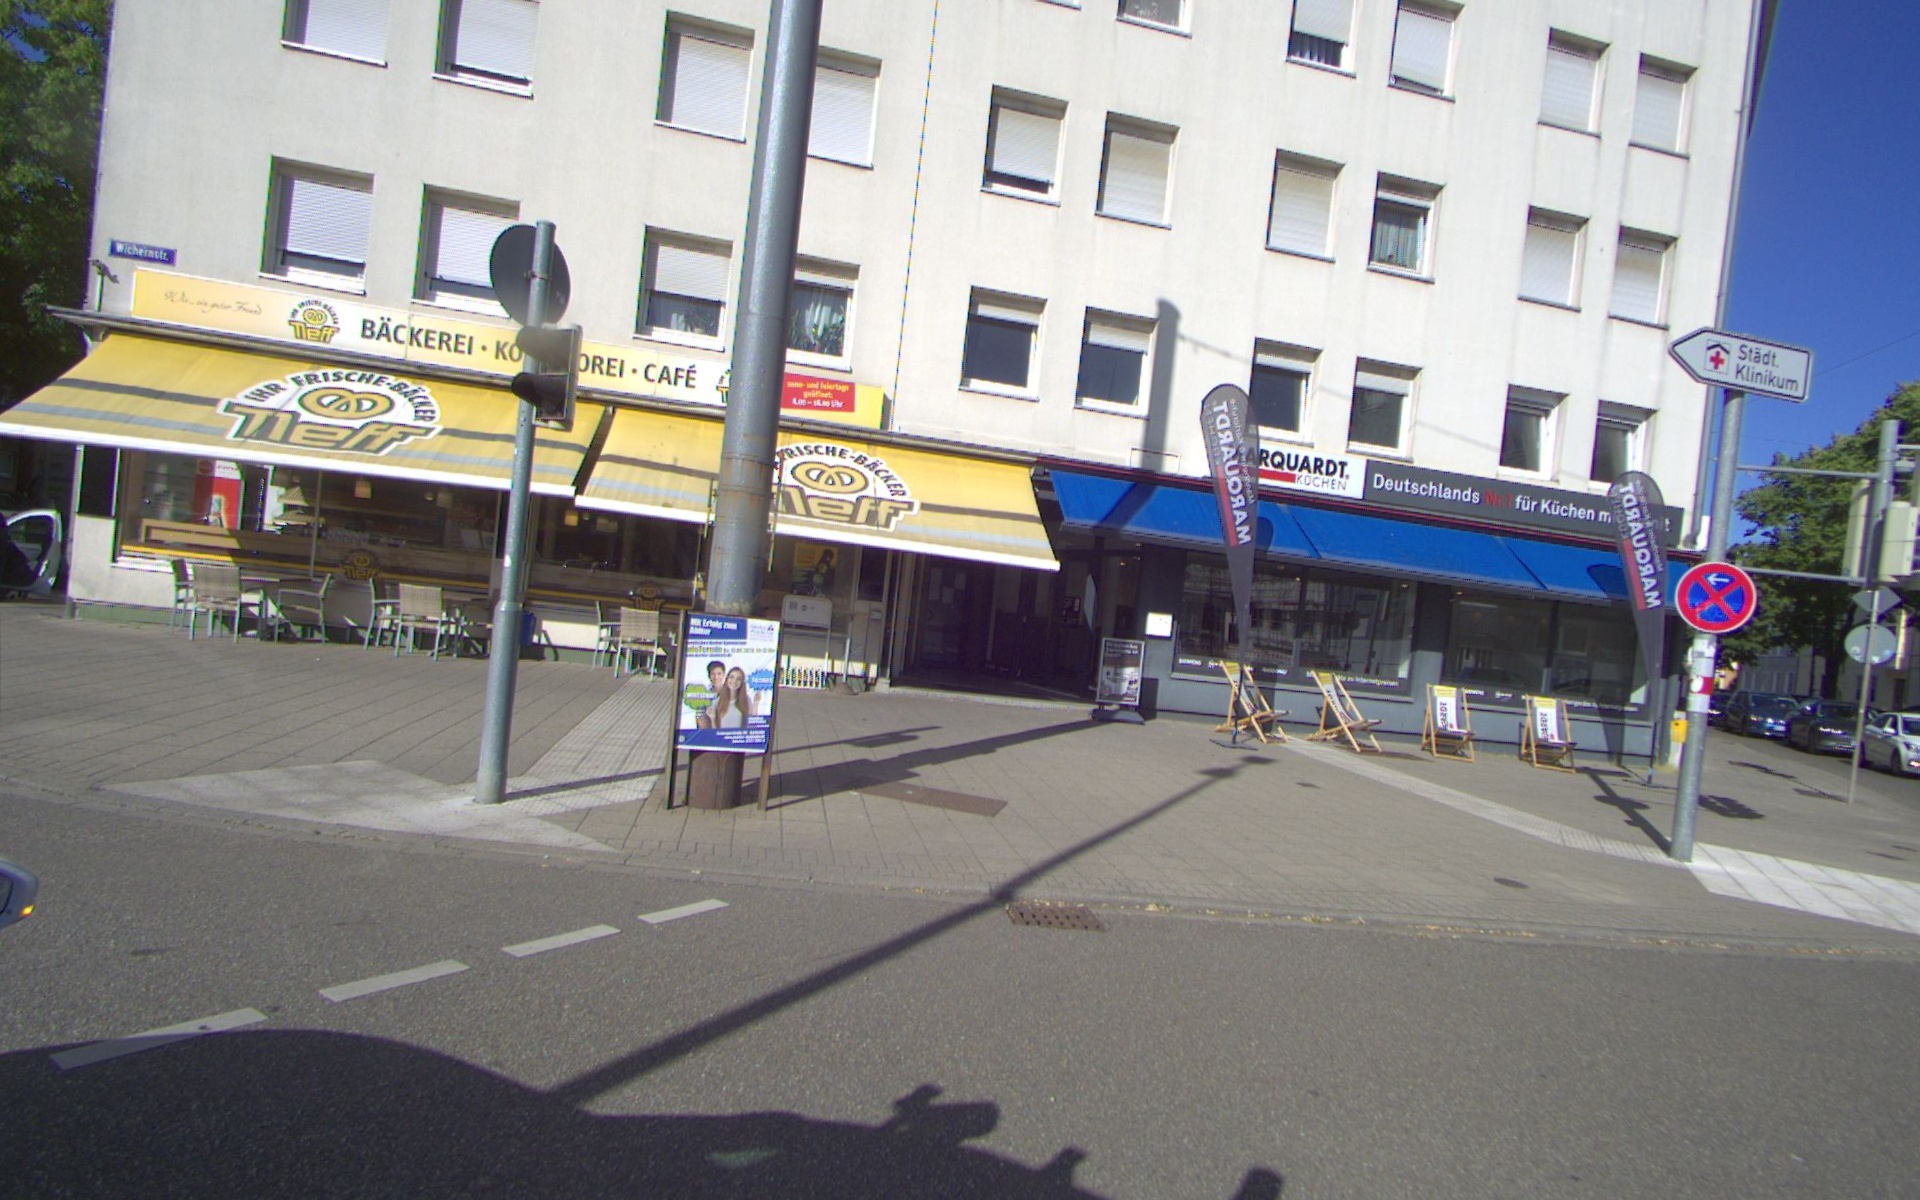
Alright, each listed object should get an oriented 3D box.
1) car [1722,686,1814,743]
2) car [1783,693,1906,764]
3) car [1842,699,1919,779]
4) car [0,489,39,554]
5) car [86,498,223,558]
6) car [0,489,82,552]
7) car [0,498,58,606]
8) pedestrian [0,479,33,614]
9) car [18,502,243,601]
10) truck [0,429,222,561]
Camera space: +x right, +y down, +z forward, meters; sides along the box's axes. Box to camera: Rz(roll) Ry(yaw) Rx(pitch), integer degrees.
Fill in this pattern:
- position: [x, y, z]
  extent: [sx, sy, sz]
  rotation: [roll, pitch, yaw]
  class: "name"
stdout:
- position: [28.202, 3.951, 35.235]
  extent: [1.630, 1.601, 3.766]
  rotation: [7, 0, 27]
  class: "car"
- position: [25.476, 3.642, 29.110]
  extent: [1.630, 1.601, 3.766]
  rotation: [7, 0, 27]
  class: "car"
- position: [22.675, 3.326, 23.787]
  extent: [1.630, 1.601, 3.994]
  rotation: [7, 0, 27]
  class: "car"
- position: [-25.300, -2.171, 25.024]
  extent: [4.264, 1.526, 1.813]
  rotation: [7, 0, 22]
  class: "car"
- position: [-27.878, -2.495, 34.849]
  extent: [3.926, 1.521, 1.848]
  rotation: [7, 0, 20]
  class: "car"
- position: [-27.346, -2.389, 28.594]
  extent: [4.264, 1.526, 1.813]
  rotation: [7, 0, 22]
  class: "car"
- position: [-14.095, -0.740, 12.985]
  extent: [1.696, 1.516, 4.014]
  rotation: [6, 0, -10]
  class: "car"
- position: [-12.772, -0.733, 13.014]
  extent: [0.748, 1.744, 0.744]
  rotation: [6, 1, -6]
  class: "pedestrian"
- position: [-15.347, -0.848, 18.876]
  extent: [1.575, 1.481, 3.665]
  rotation: [6, 0, -11]
  class: "car"
- position: [-26.815, -3.290, 31.215]
  extent: [7.189, 3.336, 2.546]
  rotation: [6, 1, 20]
  class: "truck"
